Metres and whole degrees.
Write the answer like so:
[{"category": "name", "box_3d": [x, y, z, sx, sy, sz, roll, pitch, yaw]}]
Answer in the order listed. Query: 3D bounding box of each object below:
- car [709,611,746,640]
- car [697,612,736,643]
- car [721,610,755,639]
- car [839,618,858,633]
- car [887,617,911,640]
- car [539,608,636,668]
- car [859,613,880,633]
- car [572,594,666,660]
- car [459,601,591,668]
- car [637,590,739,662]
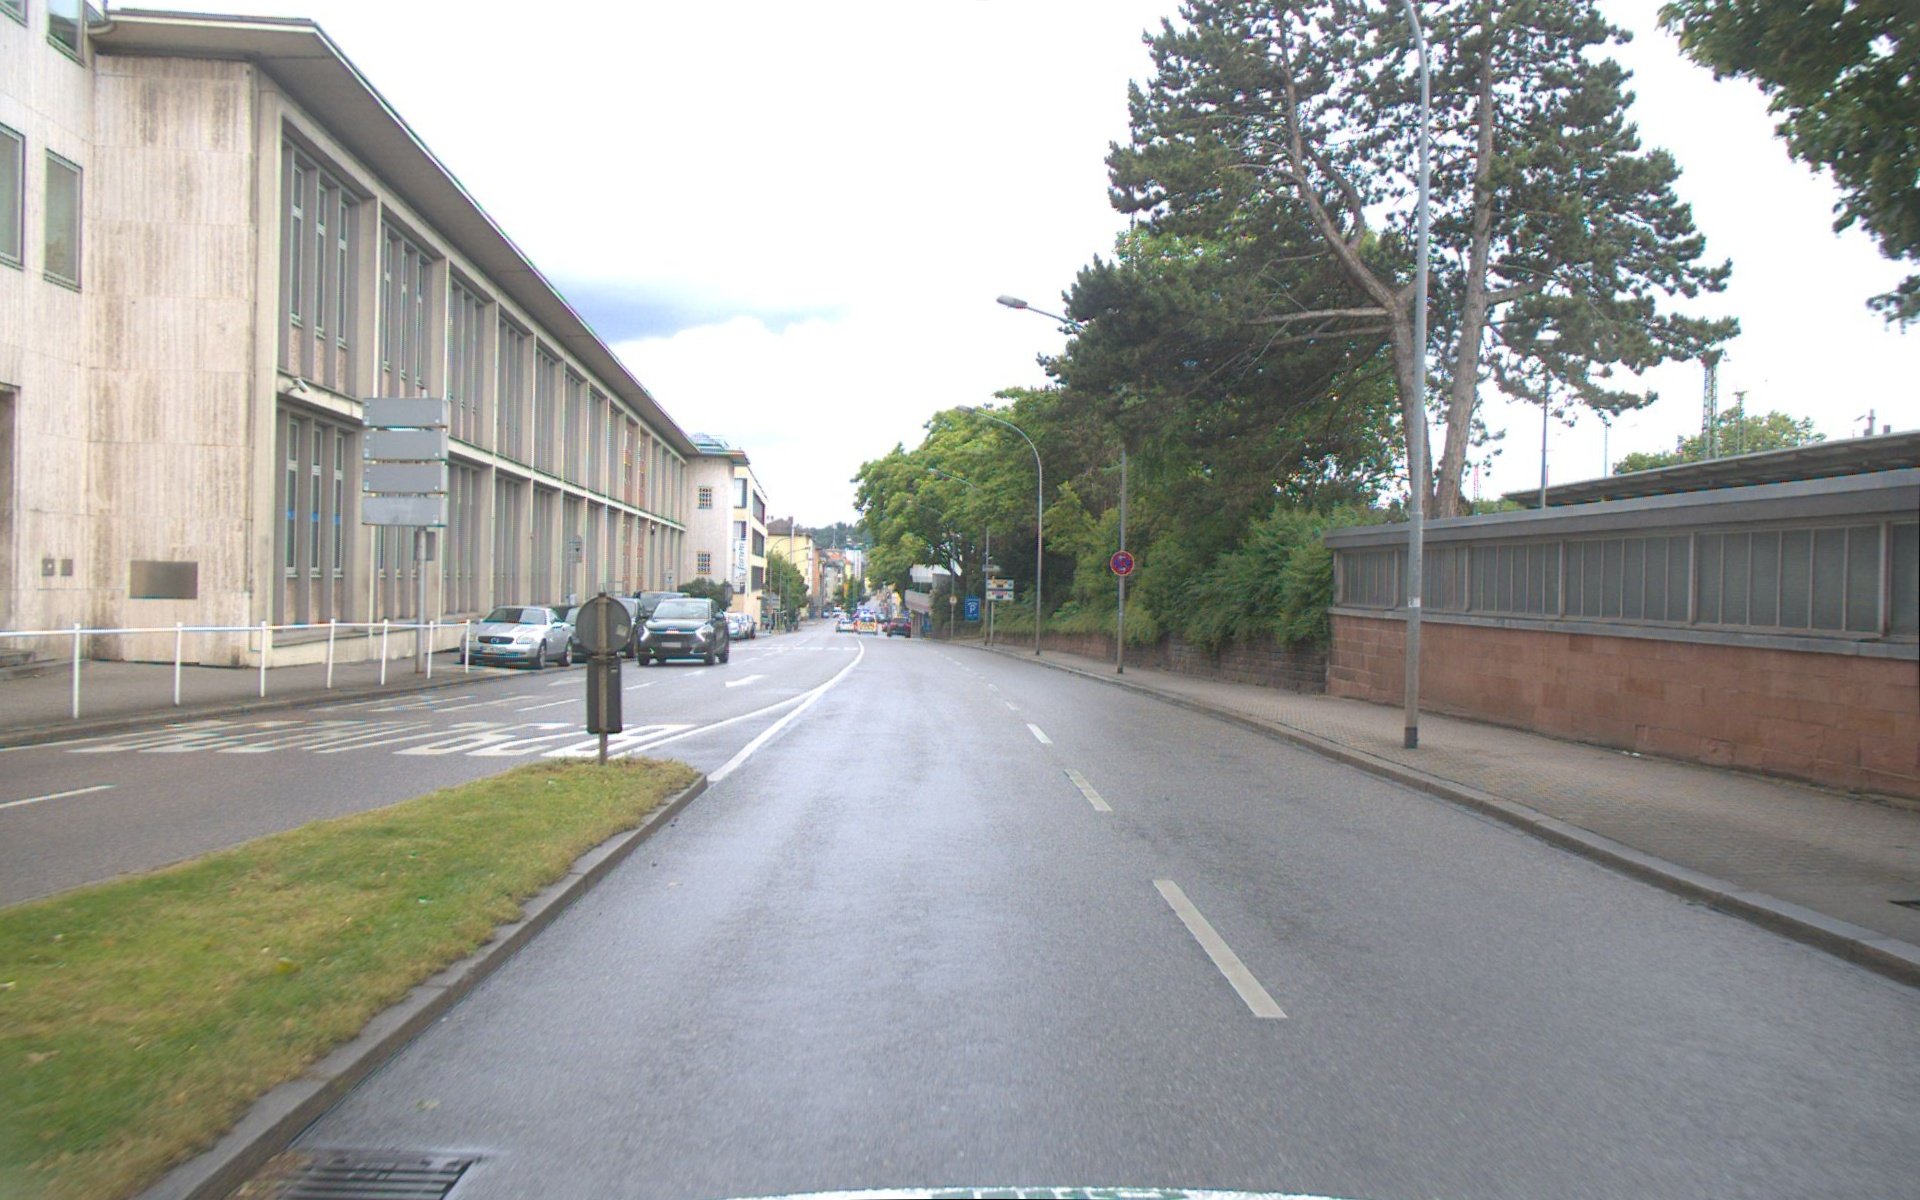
[{"category": "car", "box_3d": [-12.801, 1.435, 91.265, 1.714, 1.460, 4.480, 3, -1, -5]}, {"category": "car", "box_3d": [-12.621, 1.434, 86.043, 1.646, 1.549, 3.917, 2, -1, -4]}, {"category": "car", "box_3d": [-13.662, 1.514, 102.001, 1.714, 1.625, 4.177, 3, -1, -4]}, {"category": "car", "box_3d": [-13.281, 3.057, 196.757, 1.957, 1.709, 3.992, -1, 0, -9]}, {"category": "car", "box_3d": [-5.486, 2.539, 148.502, 2.050, 1.944, 4.097, -1, 1, -3]}, {"category": "car", "box_3d": [-9.295, 0.916, 41.526, 1.511, 1.377, 4.109, 1, 0, -1]}, {"category": "car", "box_3d": [-8.826, 2.245, 161.055, 1.954, 1.870, 3.997, -1, 0, -4]}, {"category": "car", "box_3d": [-9.473, 0.722, 46.284, 1.761, 1.705, 4.601, 1, 0, -2]}, {"category": "car", "box_3d": [-9.334, 0.703, 35.790, 1.656, 1.320, 4.093, 1, 0, 1]}, {"category": "car", "box_3d": [-6.762, 0.619, 41.517, 1.784, 1.689, 4.338, 0, 0, 1]}]
